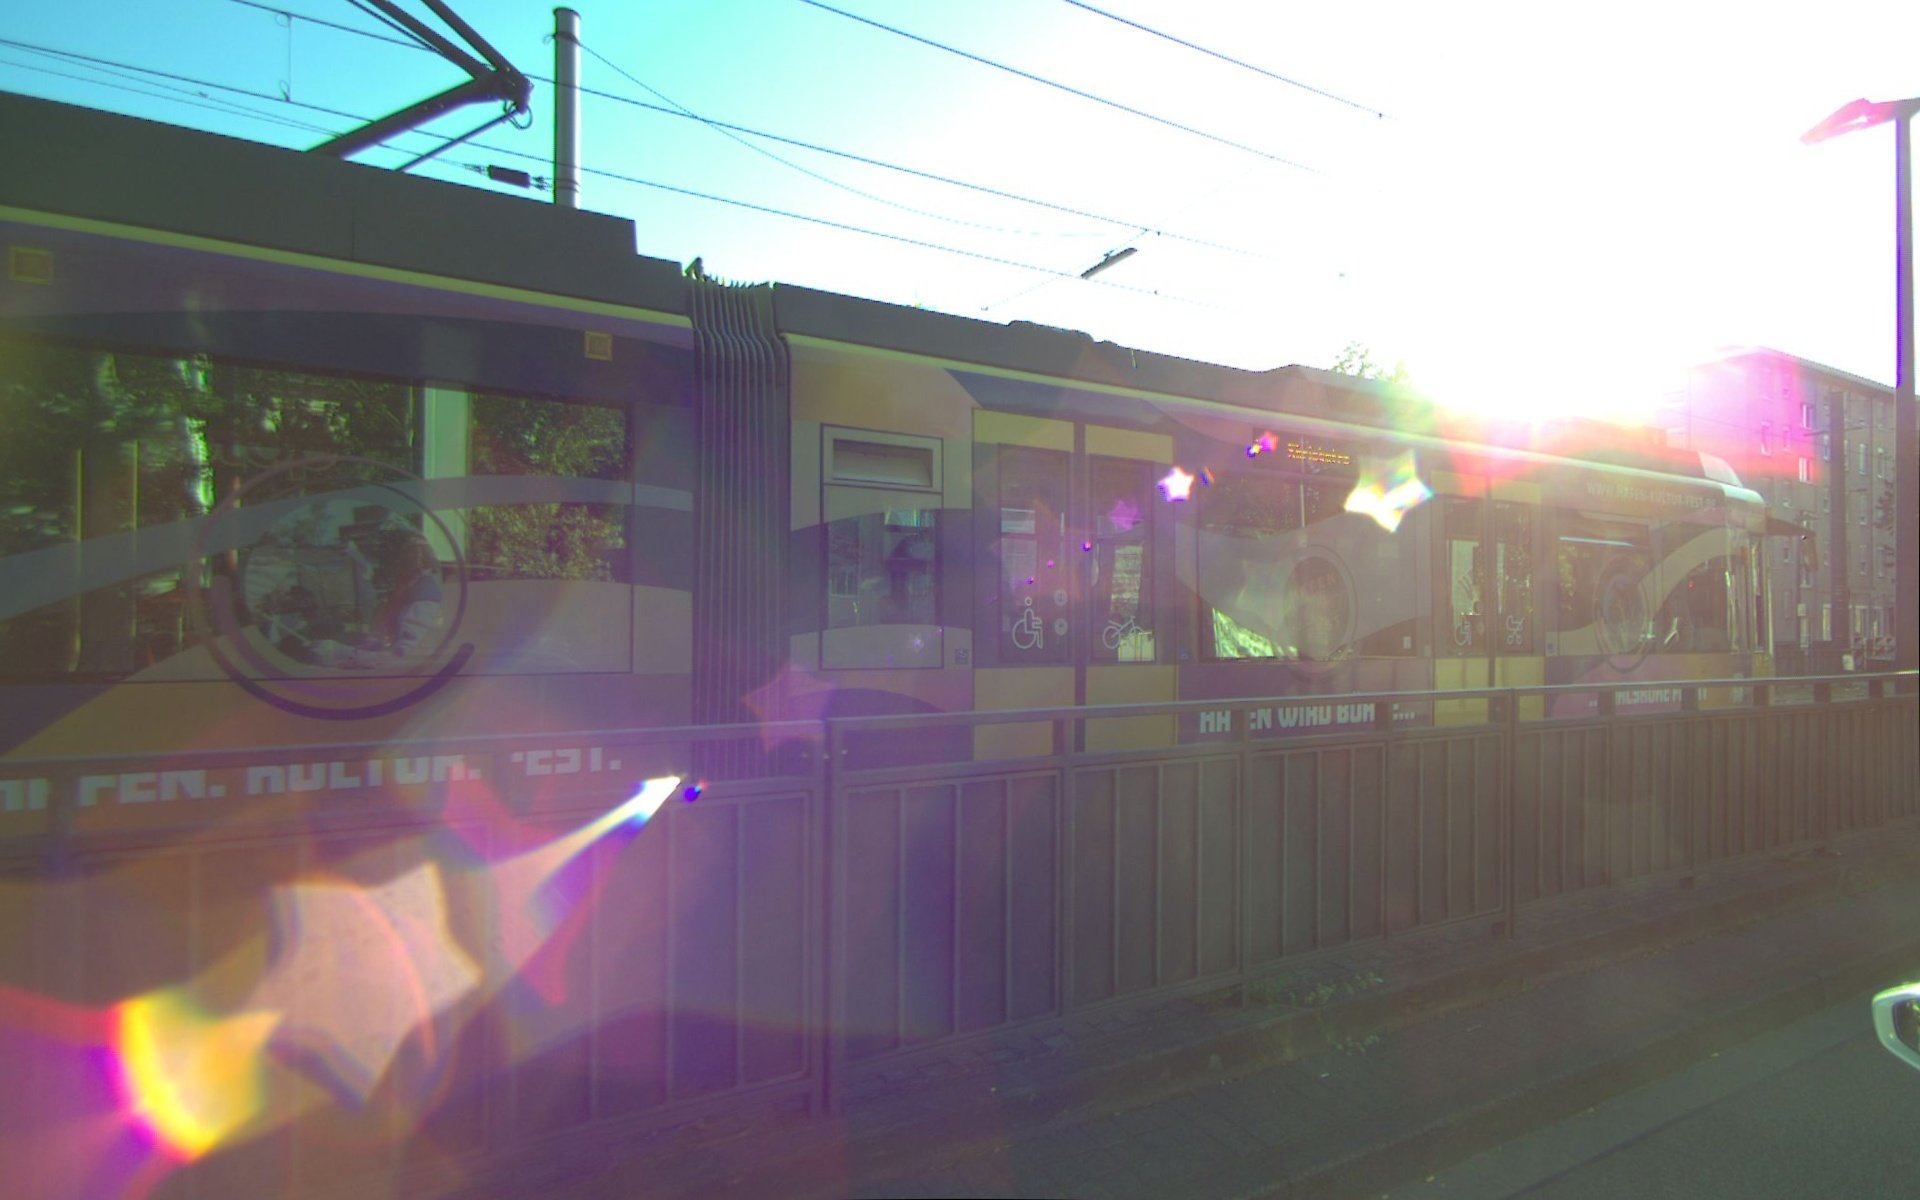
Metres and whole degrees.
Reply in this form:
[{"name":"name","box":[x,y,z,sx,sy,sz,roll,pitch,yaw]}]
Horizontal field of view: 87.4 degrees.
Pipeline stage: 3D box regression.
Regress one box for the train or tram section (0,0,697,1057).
[{"name":"train or tram section","box":[-7.297,-0.362,2.440,12.634,3.596,2.716,1,-2,-30]}]

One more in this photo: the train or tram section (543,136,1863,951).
[{"name":"train or tram section","box":[3.576,-0.099,8.860,13.176,3.565,2.628,1,-2,-30]}]
